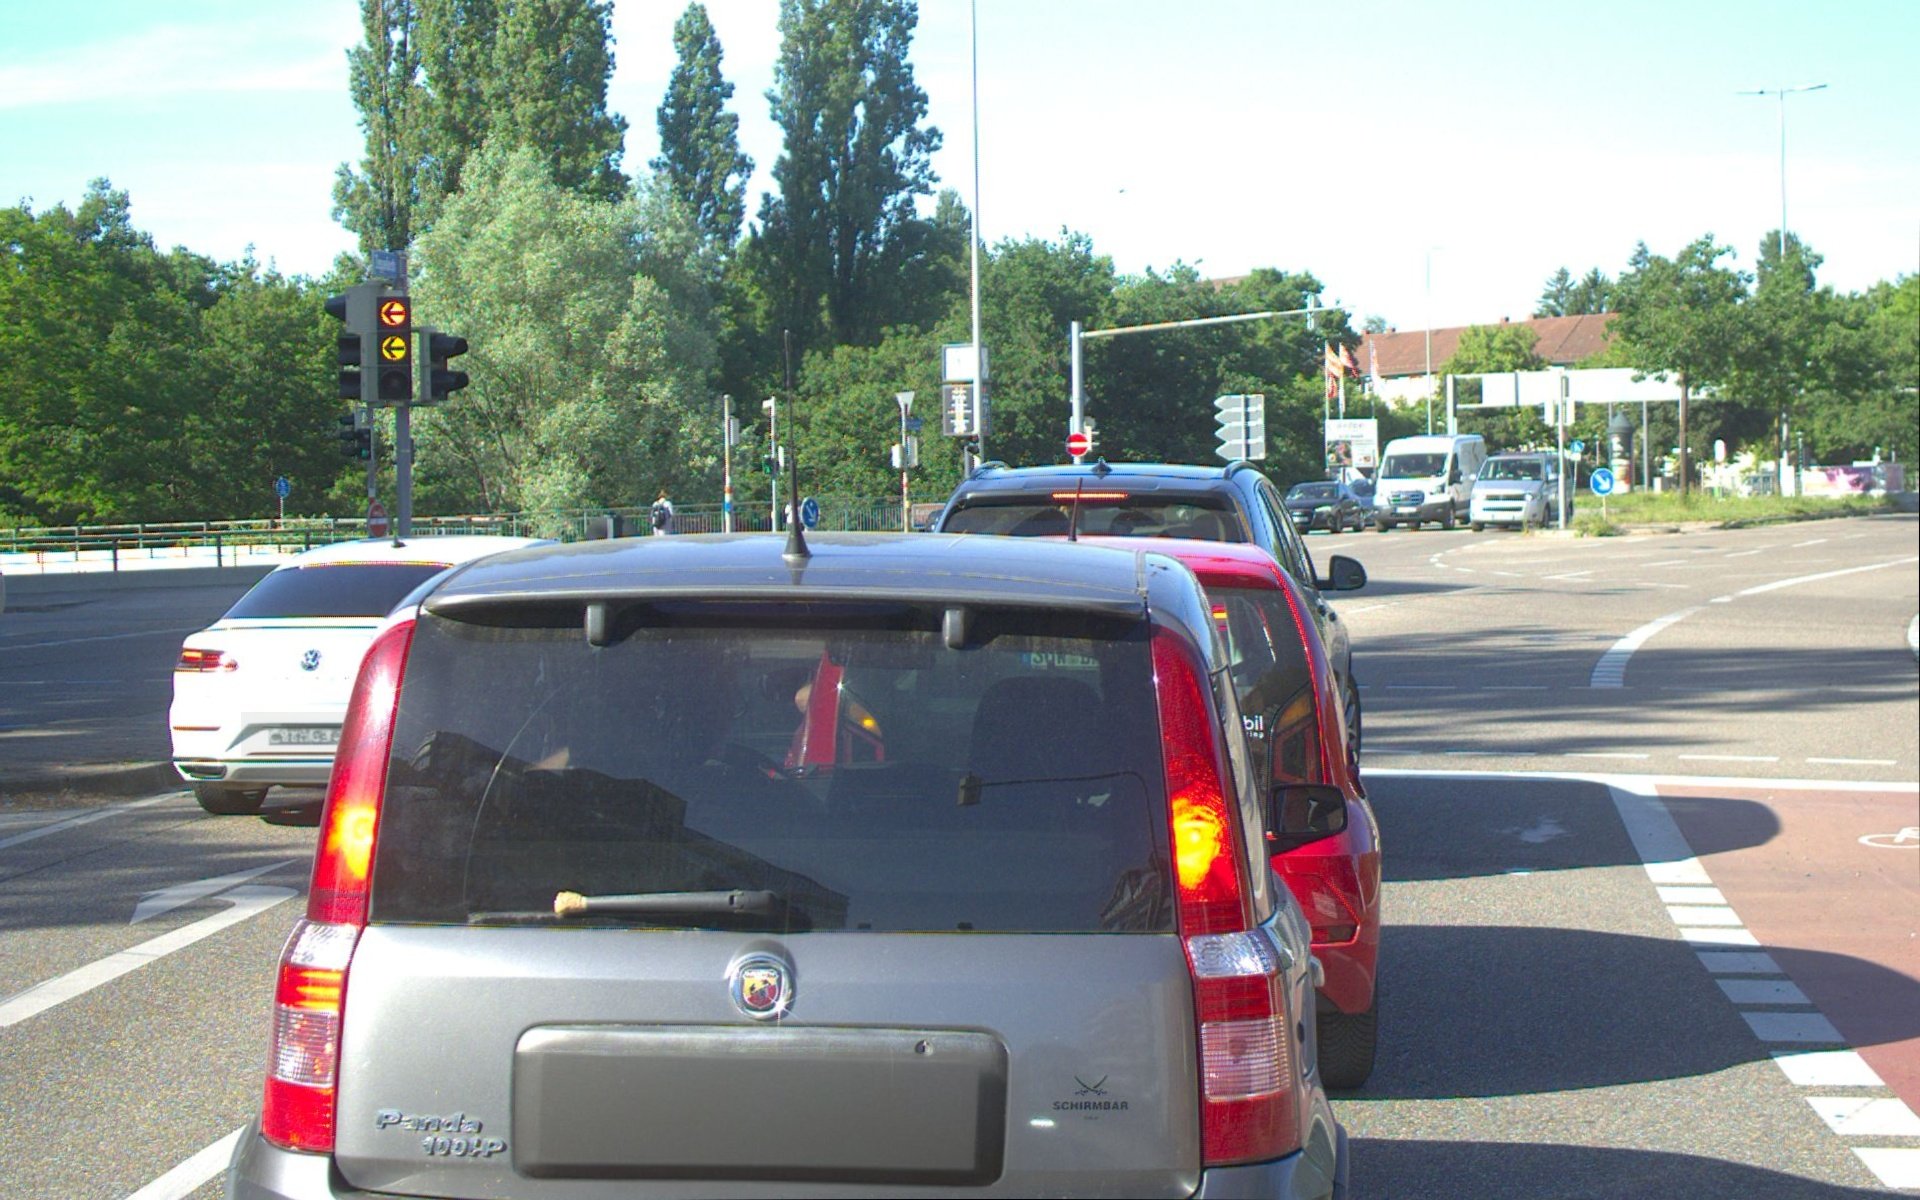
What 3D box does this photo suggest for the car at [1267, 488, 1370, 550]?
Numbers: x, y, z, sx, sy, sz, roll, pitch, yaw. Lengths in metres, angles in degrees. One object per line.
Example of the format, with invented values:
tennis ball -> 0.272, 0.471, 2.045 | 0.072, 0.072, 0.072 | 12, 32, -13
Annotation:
car -> 9.586, -2.172, 91.738 | 1.938, 1.502, 3.997 | -2, 2, 17

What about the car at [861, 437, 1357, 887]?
car -> 0.842, 0.189, 16.161 | 1.946, 1.833, 4.152 | -1, 2, 8

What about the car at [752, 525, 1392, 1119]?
car -> 0.439, 0.537, 10.667 | 1.618, 1.458, 3.750 | -1, 2, 5

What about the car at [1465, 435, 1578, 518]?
car -> 14.202, -3.134, 86.745 | 1.938, 2.001, 4.927 | 0, 2, 20

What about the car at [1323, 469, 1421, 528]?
car -> 11.822, -2.927, 98.329 | 1.812, 1.536, 4.613 | -2, 2, 19

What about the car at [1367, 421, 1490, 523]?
car -> 12.405, -3.398, 90.730 | 1.938, 2.567, 6.083 | 0, 2, 20

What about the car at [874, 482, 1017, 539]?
car -> -0.421, -2.692, 104.145 | 3.988, 1.619, 1.900 | 0, 1, -38

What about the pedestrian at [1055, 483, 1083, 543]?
pedestrian -> 2.883, -2.306, 91.137 | 0.556, 1.542, 0.576 | -2, 1, -16

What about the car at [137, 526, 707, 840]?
car -> -2.713, 0.347, 18.415 | 1.781, 1.410, 4.318 | 0, 2, 9

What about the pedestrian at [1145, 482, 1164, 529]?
pedestrian -> 7.178, -3.482, 126.877 | 0.499, 1.696, 0.499 | 1, 0, 24

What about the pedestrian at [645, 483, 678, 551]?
pedestrian -> -6.498, -1.803, 74.887 | 0.679, 1.458, 0.703 | -1, 2, -6

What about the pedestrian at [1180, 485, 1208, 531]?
pedestrian -> 8.597, -3.387, 126.327 | 0.791, 1.658, 0.628 | 1, 1, 40

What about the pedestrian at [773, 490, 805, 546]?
pedestrian -> -4.872, -2.342, 97.826 | 0.709, 1.542, 0.729 | -2, 0, -16

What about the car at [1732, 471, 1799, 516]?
car -> 30.517, -4.051, 130.112 | 1.938, 1.616, 4.502 | 0, 2, 20

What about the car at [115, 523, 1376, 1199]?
car -> -0.121, 0.652, 6.322 | 1.618, 1.510, 3.819 | -1, 2, 5

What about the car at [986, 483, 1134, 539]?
car -> 2.986, -2.656, 102.005 | 4.317, 1.530, 1.784 | -3, 4, -41
